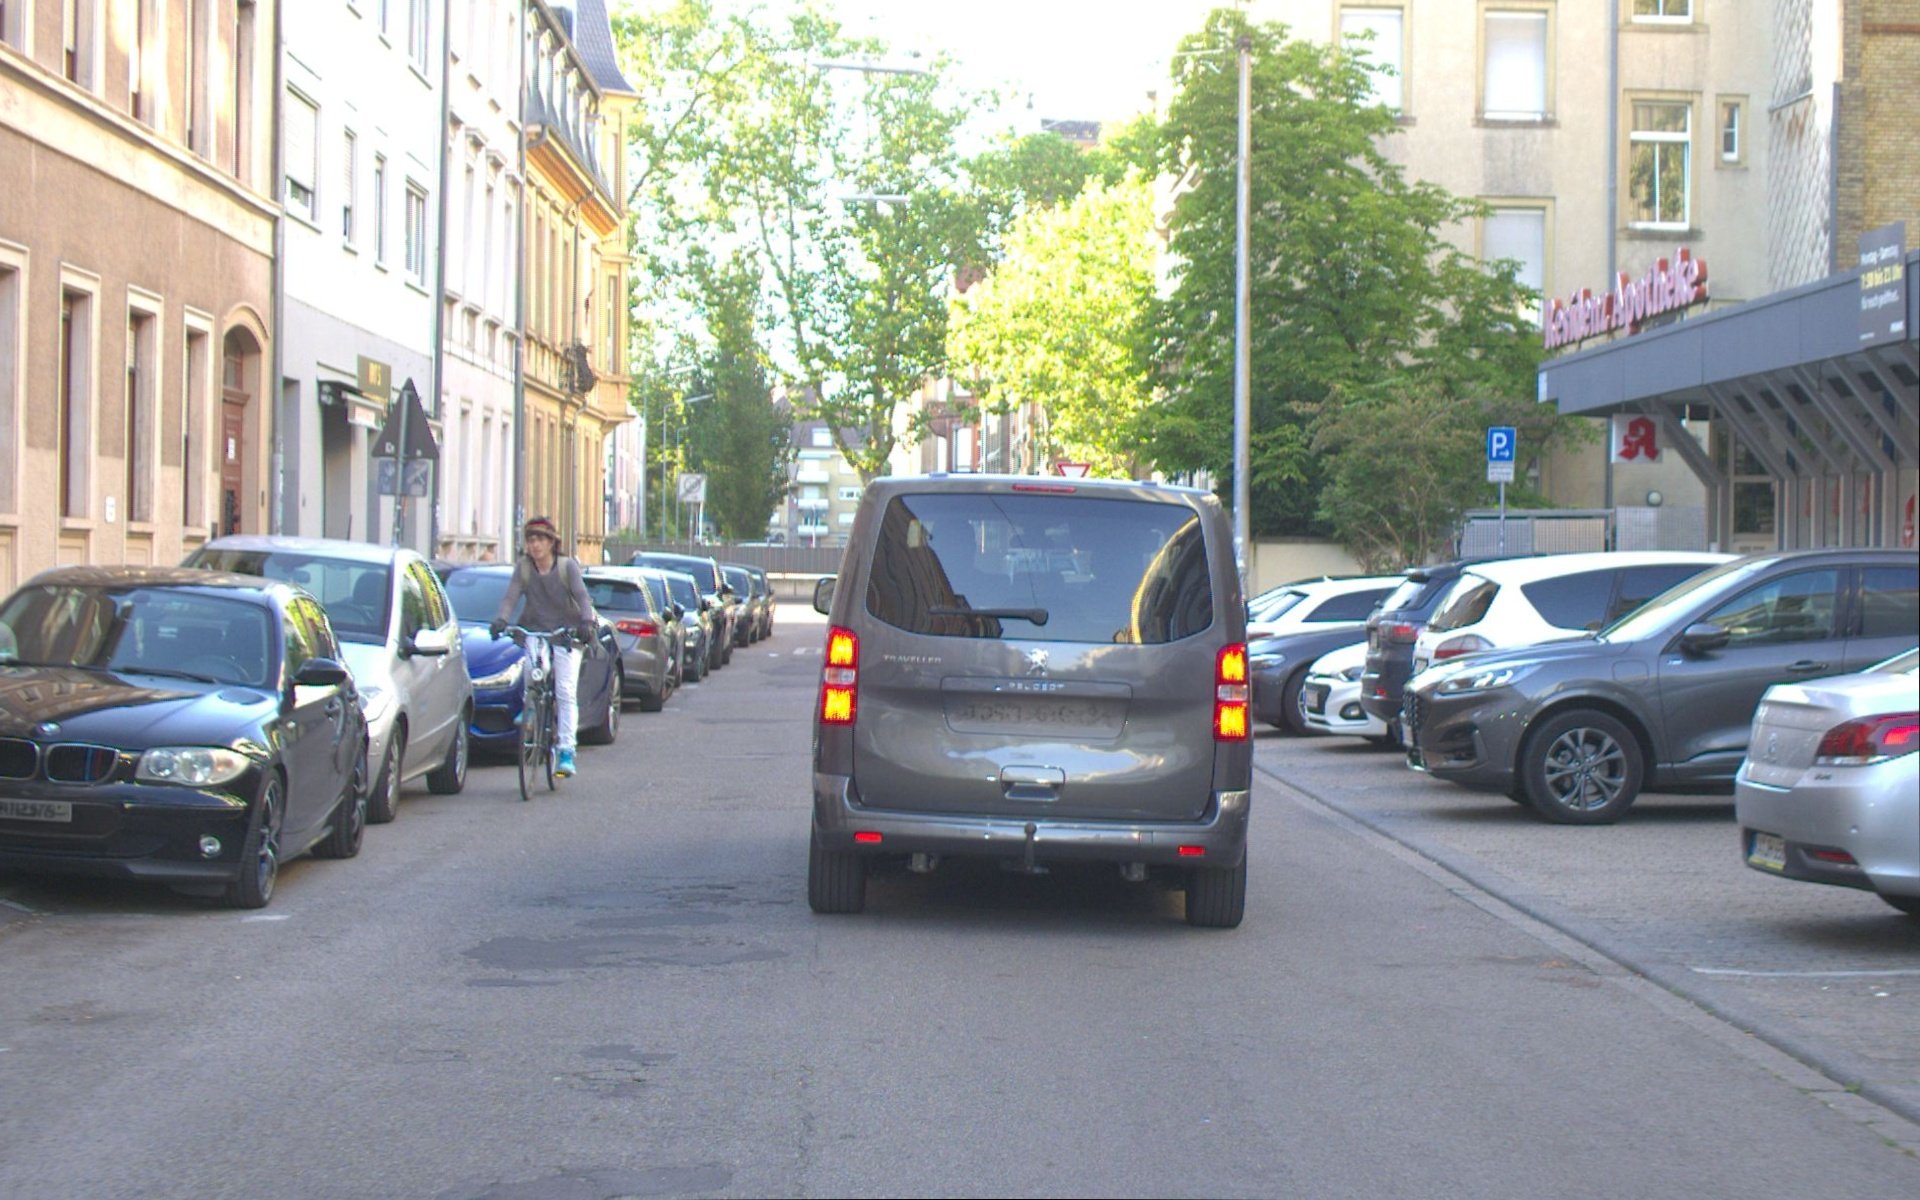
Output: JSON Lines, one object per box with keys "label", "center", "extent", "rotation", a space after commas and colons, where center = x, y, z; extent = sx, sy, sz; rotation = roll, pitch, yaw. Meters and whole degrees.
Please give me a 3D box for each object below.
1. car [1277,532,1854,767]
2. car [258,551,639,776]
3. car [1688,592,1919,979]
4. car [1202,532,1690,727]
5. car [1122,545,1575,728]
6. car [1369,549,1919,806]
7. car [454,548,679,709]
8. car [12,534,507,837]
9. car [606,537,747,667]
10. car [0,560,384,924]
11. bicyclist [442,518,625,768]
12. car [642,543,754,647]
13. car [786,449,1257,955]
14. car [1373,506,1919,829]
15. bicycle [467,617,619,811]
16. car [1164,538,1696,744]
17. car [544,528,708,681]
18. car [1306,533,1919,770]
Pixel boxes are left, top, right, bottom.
{"label": "car", "center": [5.146, 0.408, 29.524], "extent": [4.472, 1.852, 1.885], "rotation": [1, 1, -8]}
{"label": "car", "center": [-3.883, 0.423, 26.917], "extent": [1.994, 1.555, 4.584], "rotation": [2, 1, 4]}
{"label": "car", "center": [5.586, 0.674, 14.406], "extent": [4.625, 1.461, 1.841], "rotation": [-2, 1, -1]}
{"label": "car", "center": [4.971, 0.289, 35.516], "extent": [4.568, 1.852, 2.001], "rotation": [1, 1, -8]}
{"label": "car", "center": [4.244, 0.386, 37.935], "extent": [4.568, 1.852, 2.001], "rotation": [1, 1, -8]}
{"label": "car", "center": [5.302, 0.535, 24.326], "extent": [4.454, 1.670, 1.797], "rotation": [1, 1, -6]}
{"label": "car", "center": [-4.103, 0.250, 36.526], "extent": [2.144, 1.555, 4.585], "rotation": [1, 1, -4]}
{"label": "car", "center": [-4.120, 0.433, 21.012], "extent": [1.993, 1.599, 4.585], "rotation": [2, 1, 1]}
{"label": "car", "center": [-4.289, -0.006, 52.291], "extent": [1.993, 1.852, 4.585], "rotation": [1, 1, -4]}
{"label": "car", "center": [-3.838, 0.551, 16.104], "extent": [1.788, 1.393, 4.468], "rotation": [2, 1, -4]}
{"label": "bicyclist", "center": [-2.730, 0.264, 22.083], "extent": [1.034, 1.572, 0.833], "rotation": [0, 1, 3]}
{"label": "car", "center": [-4.949, -0.124, 65.055], "extent": [1.993, 1.852, 4.585], "rotation": [1, 1, -4]}
{"label": "car", "center": [0.283, 0.376, 15.764], "extent": [1.857, 2.007, 4.000], "rotation": [-1, 1, 1]}
{"label": "car", "center": [5.037, 0.413, 21.532], "extent": [4.569, 1.852, 2.000], "rotation": [1, 1, -2]}
{"label": "bicycle", "center": [-2.645, 0.696, 22.013], "extent": [0.621, 1.134, 2.257], "rotation": [0, 1, 2]}
{"label": "car", "center": [4.397, 0.366, 32.530], "extent": [4.568, 1.786, 2.001], "rotation": [1, 1, -8]}
{"label": "car", "center": [-4.326, 0.025, 45.114], "extent": [1.993, 1.852, 4.585], "rotation": [1, 1, -4]}
{"label": "car", "center": [5.224, 0.388, 27.144], "extent": [4.568, 1.699, 2.001], "rotation": [1, 1, -8]}
